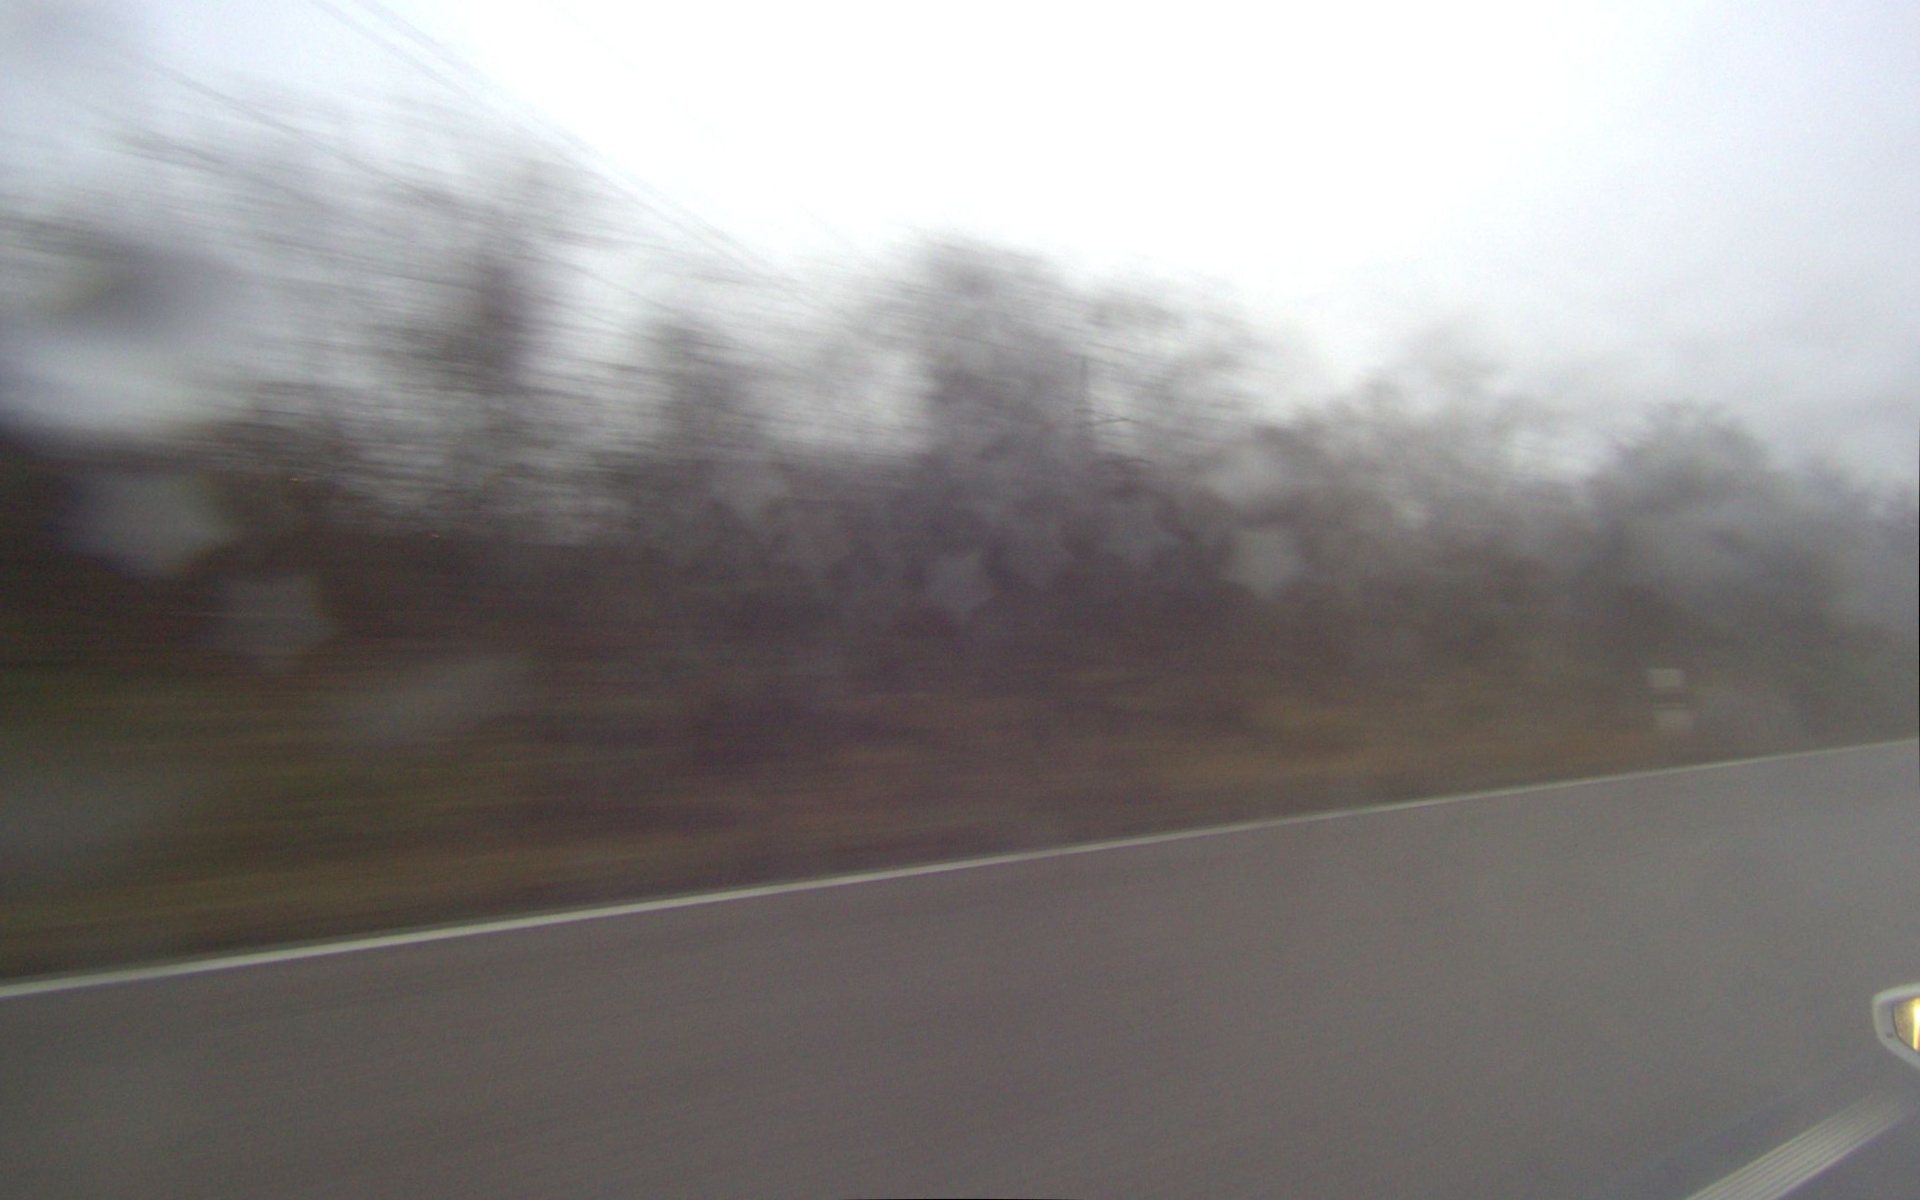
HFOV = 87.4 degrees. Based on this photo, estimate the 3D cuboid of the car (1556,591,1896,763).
[{"bbox_3d":[9.554,0.863,12.507,3.953,1.808,1.984,2,0,-30],"label":"car"}]
